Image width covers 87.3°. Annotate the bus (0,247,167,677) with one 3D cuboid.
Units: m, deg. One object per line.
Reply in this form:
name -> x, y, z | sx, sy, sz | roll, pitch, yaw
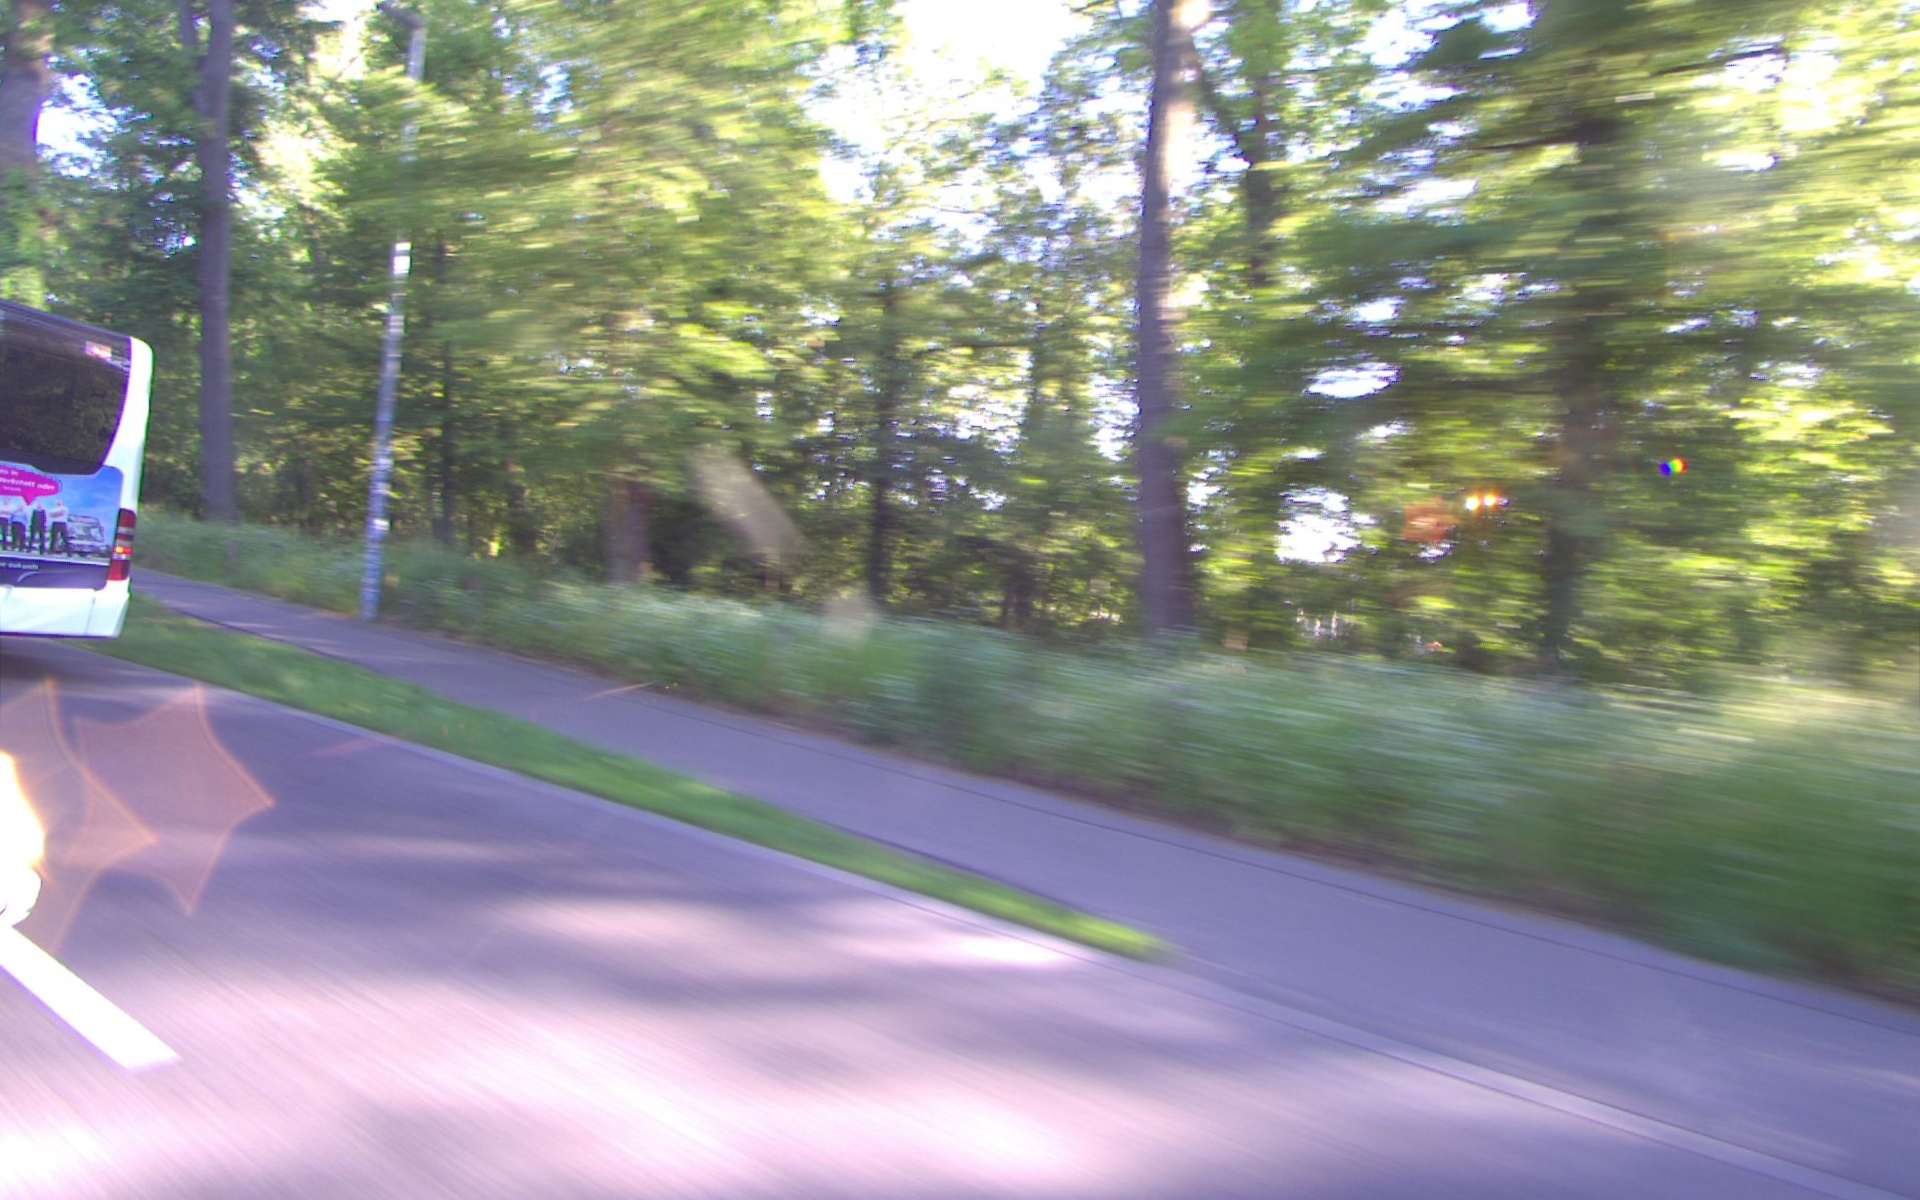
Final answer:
bus -> -12.715, -1.637, 10.569 | 12.076, 3.260, 2.708 | 6, -1, 32
